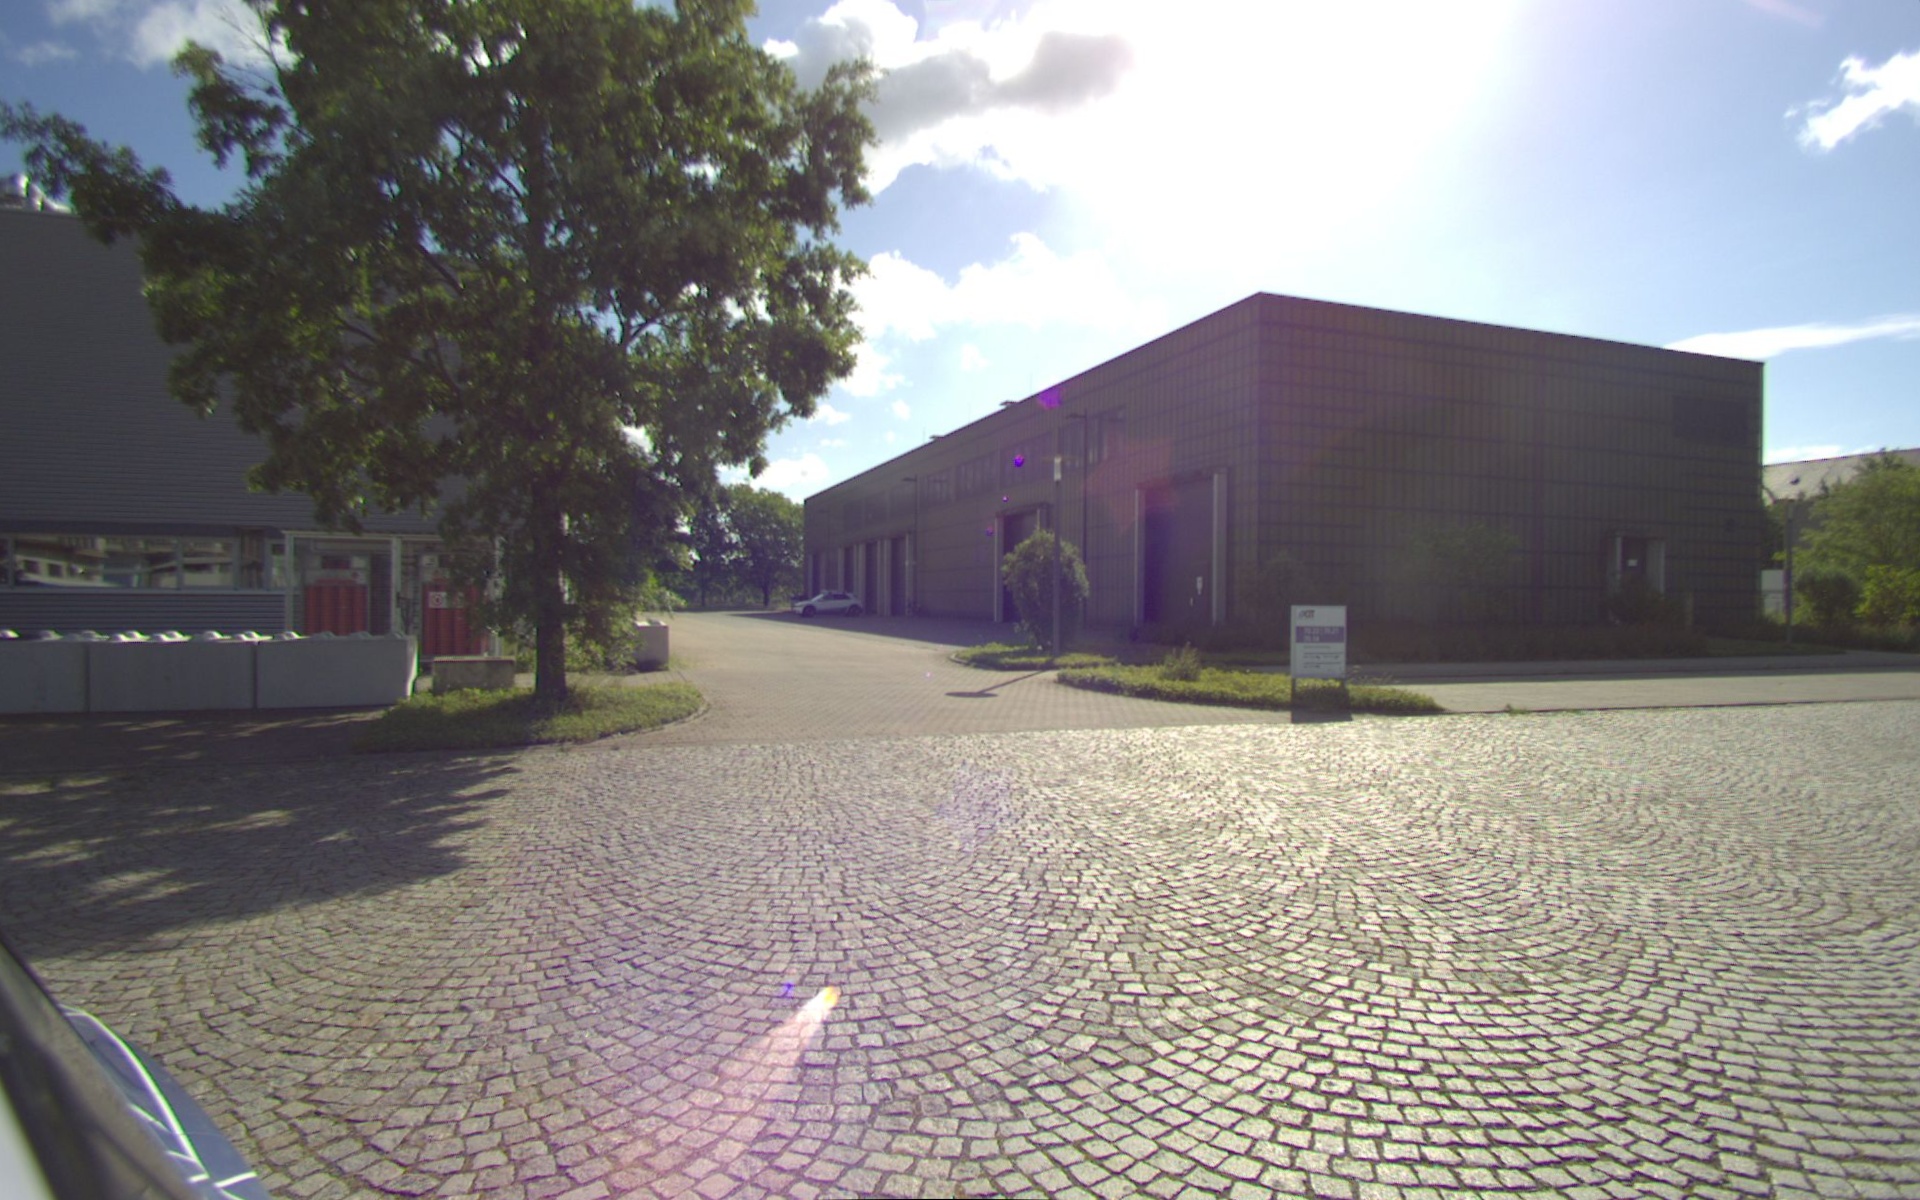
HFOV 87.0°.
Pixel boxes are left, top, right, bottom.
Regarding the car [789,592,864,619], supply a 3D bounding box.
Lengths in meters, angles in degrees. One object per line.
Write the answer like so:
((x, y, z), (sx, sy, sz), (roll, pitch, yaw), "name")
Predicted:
((-8.668, 0.369, 65.636), (4.500, 1.675, 2.007), (0, 0, -21), "car")
